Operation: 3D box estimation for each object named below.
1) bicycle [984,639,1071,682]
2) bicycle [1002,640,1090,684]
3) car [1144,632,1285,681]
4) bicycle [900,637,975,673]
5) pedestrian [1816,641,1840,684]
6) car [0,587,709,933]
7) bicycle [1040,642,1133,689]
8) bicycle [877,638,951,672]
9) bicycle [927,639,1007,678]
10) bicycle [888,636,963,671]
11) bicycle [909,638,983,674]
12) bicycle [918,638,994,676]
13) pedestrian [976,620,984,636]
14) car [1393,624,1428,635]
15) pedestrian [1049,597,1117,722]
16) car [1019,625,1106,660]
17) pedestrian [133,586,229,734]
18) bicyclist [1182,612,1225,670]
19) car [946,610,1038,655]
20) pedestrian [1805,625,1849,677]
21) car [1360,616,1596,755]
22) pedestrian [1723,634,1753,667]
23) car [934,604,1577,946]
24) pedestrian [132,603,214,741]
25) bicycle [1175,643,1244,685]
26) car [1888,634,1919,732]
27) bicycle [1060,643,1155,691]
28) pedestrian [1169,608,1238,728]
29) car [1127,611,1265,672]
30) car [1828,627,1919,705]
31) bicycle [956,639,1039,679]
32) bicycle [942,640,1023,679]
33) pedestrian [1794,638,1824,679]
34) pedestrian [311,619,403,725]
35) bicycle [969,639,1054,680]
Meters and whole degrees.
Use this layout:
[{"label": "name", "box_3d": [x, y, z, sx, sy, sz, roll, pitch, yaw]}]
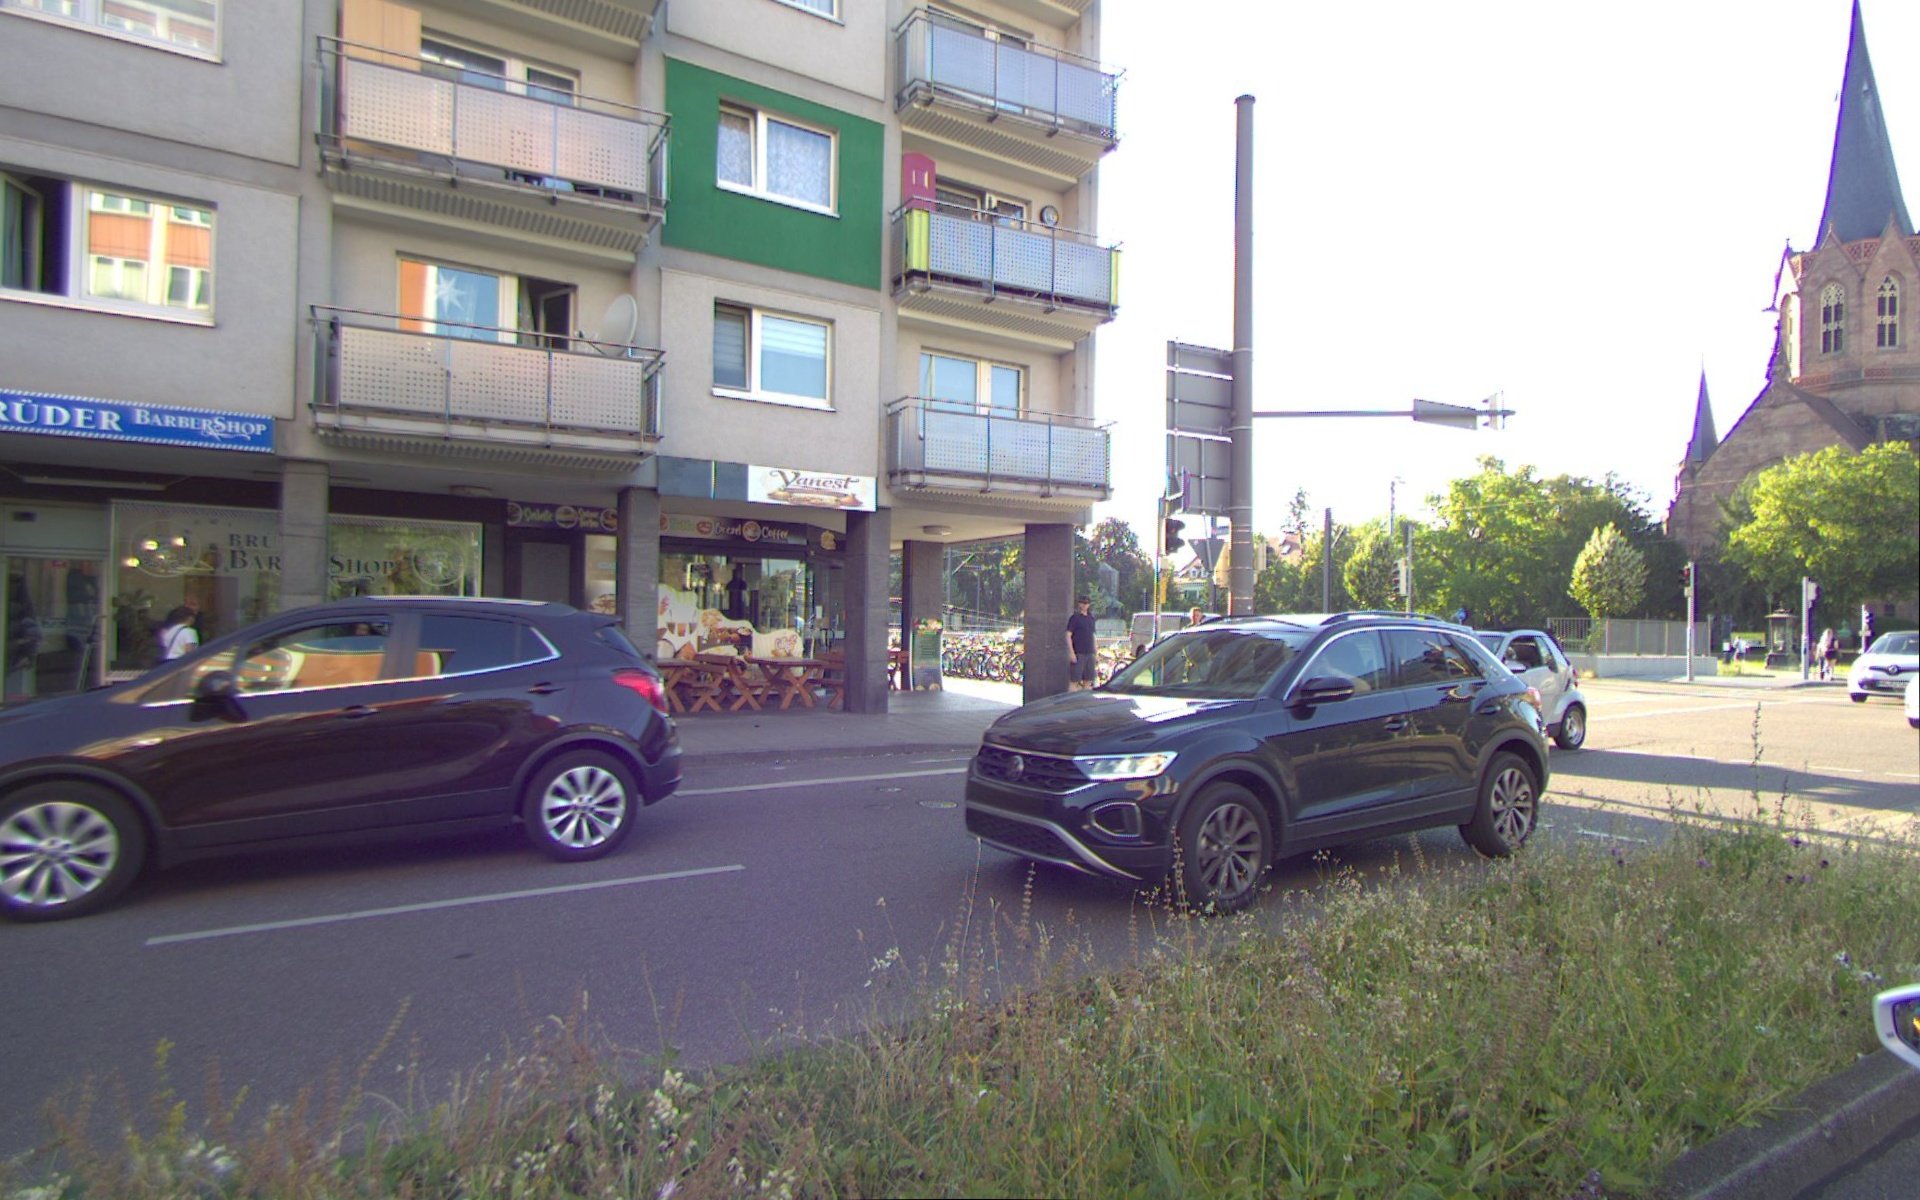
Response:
[{"label": "bicycle", "box_3d": [1.803, 1.590, 26.549, 2.273, 1.065, 0.731, 2, -2, -31]}, {"label": "bicycle", "box_3d": [2.217, 1.582, 25.738, 2.273, 1.065, 0.731, 2, -2, -31]}, {"label": "car", "box_3d": [7.772, 1.706, 31.041, 1.781, 1.330, 4.165, 2, -2, -32]}, {"label": "bicycle", "box_3d": [-0.681, 1.691, 30.893, 2.273, 1.065, 0.642, 2, -2, -31]}, {"label": "pedestrian", "box_3d": [35.543, 2.553, 41.117, 0.700, 1.719, 0.891, 2, 0, 41]}, {"label": "car", "box_3d": [-3.821, 0.818, 6.294, 4.057, 1.650, 1.710, 1, -2, -32]}, {"label": "bicycle", "box_3d": [3.076, 1.579, 24.388, 2.273, 1.065, 0.731, 2, -2, -31]}, {"label": "bicycle", "box_3d": [-1.471, 1.770, 32.268, 2.273, 1.065, 0.731, 2, -2, -31]}, {"label": "bicycle", "box_3d": [0.216, 1.698, 29.290, 2.273, 1.065, 0.731, 2, -2, -31]}, {"label": "bicycle", "box_3d": [-1.065, 1.689, 31.580, 2.273, 1.065, 0.731, 2, -2, -31]}, {"label": "bicycle", "box_3d": [-0.404, 1.695, 30.385, 2.273, 1.065, 0.558, 2, -2, -31]}, {"label": "bicycle", "box_3d": [-0.110, 1.696, 29.876, 2.273, 1.065, 0.558, 2, -2, -31]}, {"label": "pedestrian", "box_3d": [2.340, 3.345, 118.496, 0.677, 1.847, 0.531, 2, -1, -27]}, {"label": "car", "box_3d": [67.715, 4.417, 150.967, 1.985, 1.592, 4.411, 2, -2, -41]}, {"label": "pedestrian", "box_3d": [1.943, 0.924, 15.869, 0.802, 1.900, 0.605, 1, 2, -30]}, {"label": "car", "box_3d": [4.401, 1.811, 43.612, 1.781, 1.392, 3.880, 2, -2, -32]}, {"label": "pedestrian", "box_3d": [-9.265, 0.694, 11.957, 0.613, 1.694, 0.658, 0, -1, 24]}, {"label": "bicyclist", "box_3d": [6.933, 1.171, 28.619, 0.952, 1.619, 0.732, 1, -2, -30]}, {"label": "car", "box_3d": [1.454, 1.523, 47.742, 1.978, 2.040, 4.896, 2, -2, -32]}, {"label": "pedestrian", "box_3d": [30.154, 1.757, 34.941, 0.803, 1.762, 0.960, 2, -1, -32]}, {"label": "car", "box_3d": [6.770, 1.050, 13.116, 2.777, 1.614, 1.527, 1, -2, -32]}, {"label": "pedestrian", "box_3d": [41.966, 2.723, 54.185, 0.828, 1.719, 1.017, 2, 0, 0]}, {"label": "car", "box_3d": [1.992, 0.868, 6.406, 4.056, 1.565, 1.667, 1, -3, -32]}, {"label": "pedestrian", "box_3d": [-8.783, 0.787, 11.234, 0.619, 1.486, 0.653, 1, -1, -33]}, {"label": "bicycle", "box_3d": [7.047, 1.788, 28.412, 0.940, 1.112, 1.769, 1, -2, -30]}, {"label": "car", "box_3d": [16.158, 1.234, 15.414, 4.054, 1.444, 1.700, 1, -3, -31]}, {"label": "bicycle", "box_3d": [3.499, 1.573, 23.705, 2.273, 1.065, 0.731, 2, -1, -31]}, {"label": "pedestrian", "box_3d": [3.826, 1.056, 15.807, 0.802, 1.811, 0.606, 1, 2, -27]}, {"label": "car", "box_3d": [8.395, 1.439, 36.201, 1.978, 2.040, 4.896, 2, -2, -32]}, {"label": "car", "box_3d": [20.467, 1.371, 21.587, 3.595, 1.565, 1.667, 1, -2, -31]}, {"label": "bicycle", "box_3d": [1.054, 1.644, 27.918, 2.273, 1.065, 0.731, 2, -2, -31]}, {"label": "bicycle", "box_3d": [0.653, 1.684, 28.610, 2.273, 1.065, 0.731, 2, -2, -31]}, {"label": "pedestrian", "box_3d": [37.067, 2.558, 43.860, 0.830, 1.719, 1.014, 2, 0, 32]}, {"label": "pedestrian", "box_3d": [-7.910, 0.922, 13.195, 0.613, 1.331, 0.811, 0, -1, 16]}, {"label": "bicycle", "box_3d": [1.418, 1.600, 27.239, 2.273, 1.065, 0.731, 2, -2, -31]}]
